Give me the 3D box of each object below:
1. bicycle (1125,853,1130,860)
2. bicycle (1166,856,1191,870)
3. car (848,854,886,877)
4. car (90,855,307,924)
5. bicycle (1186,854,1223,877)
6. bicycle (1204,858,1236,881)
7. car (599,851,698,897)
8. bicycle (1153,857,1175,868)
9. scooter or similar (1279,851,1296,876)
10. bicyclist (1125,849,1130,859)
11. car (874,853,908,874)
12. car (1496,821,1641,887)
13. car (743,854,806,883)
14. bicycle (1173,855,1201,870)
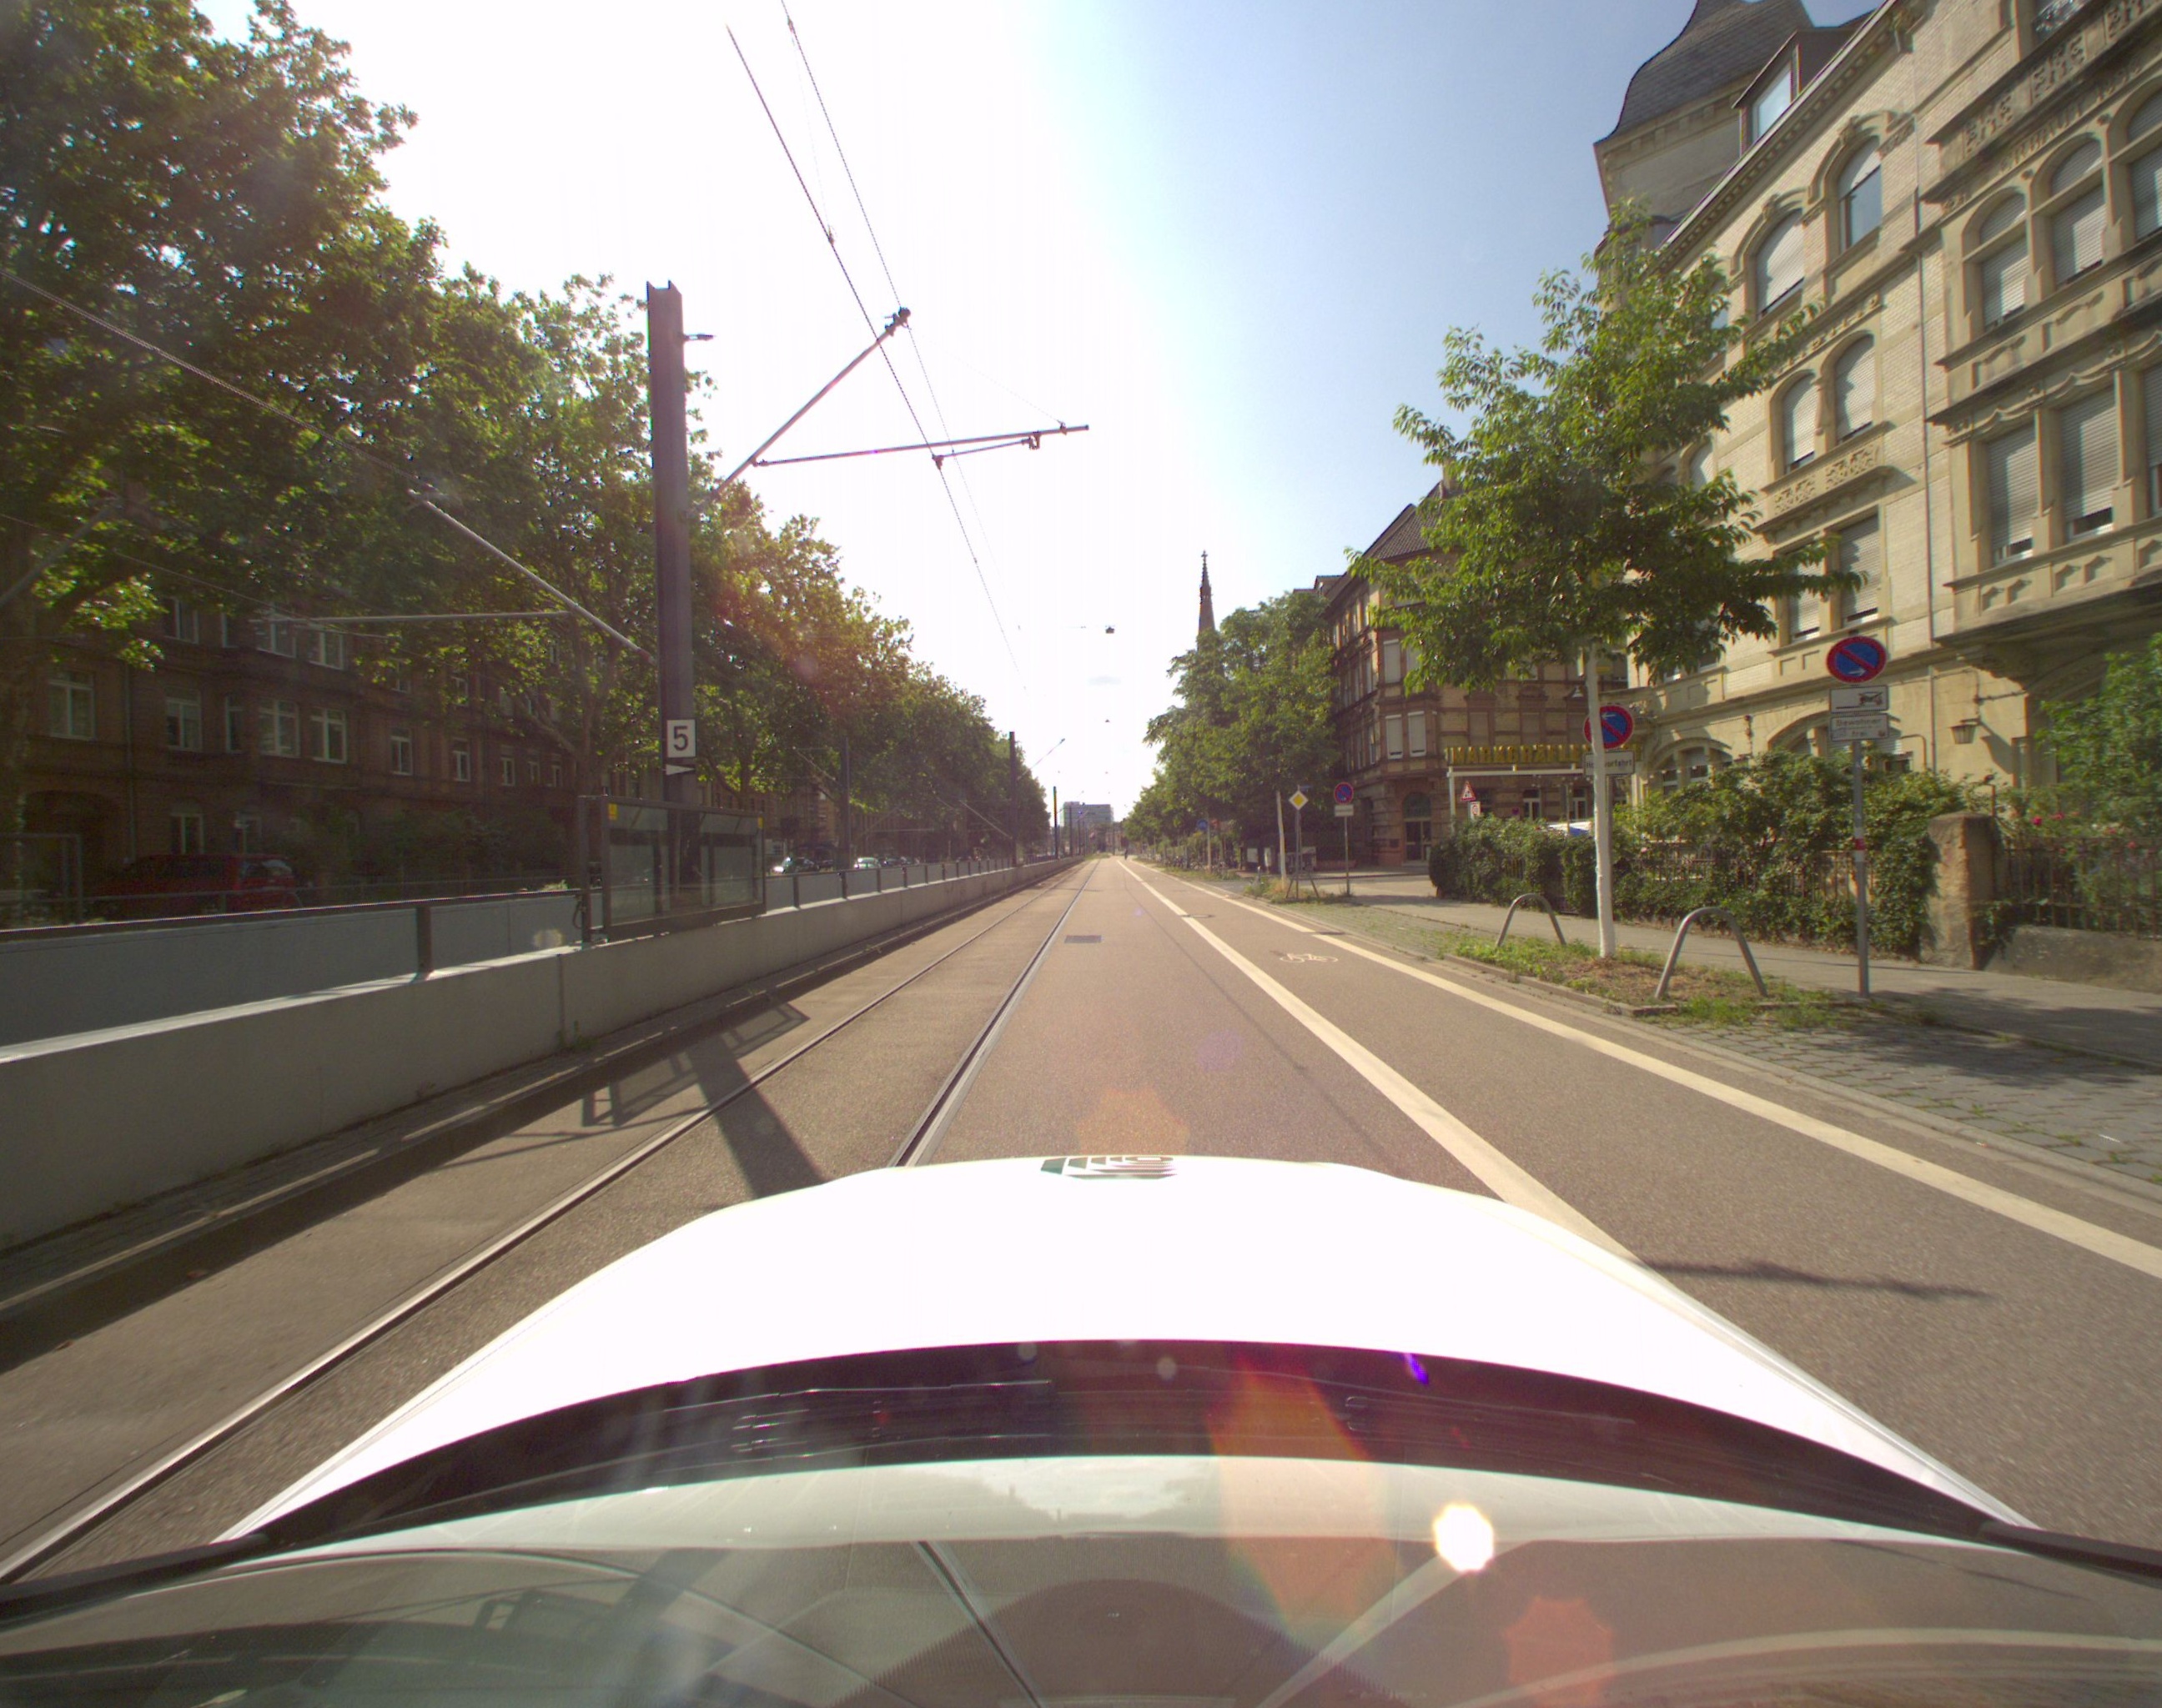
[{"bbox_3d":[7.769,0.431,136.417,0.796,1.237,2.779,-2,0,2],"label":"bicycle"},{"bbox_3d":[7.436,0.692,62.085,1.811,0.902,0.603,-4,0,-2],"label":"bicycle"},{"bbox_3d":[-17.694,0.905,67.426,1.832,1.727,4.002,-4,0,2],"label":"car"},{"bbox_3d":[-26.977,1.047,25.008,4.387,1.918,2.000,-2,0,0],"label":"car"},{"bbox_3d":[6.761,0.635,44.512,1.816,1.145,0.649,-4,0,-10],"label":"bicycle"},{"bbox_3d":[6.695,0.734,39.335,0.652,1.038,1.810,-4,0,-20],"label":"bicycle"},{"bbox_3d":[-18.227,0.797,34.496,1.708,1.691,3.738,-4,1,8],"label":"car"},{"bbox_3d":[7.489,0.781,73.355,1.811,0.902,0.603,-4,0,-2],"label":"bicycle"},{"bbox_3d":[10.266,0.460,40.571,0.459,1.158,1.574,-3,0,2],"label":"scooter or similar"},{"bbox_3d":[7.711,0.024,136.335,0.767,1.730,1.027,-2,0,2],"label":"bicyclist"},{"bbox_3d":[-16.903,0.817,72.589,1.832,1.727,4.002,-4,0,2],"label":"car"},{"bbox_3d":[17.211,0.052,29.050,1.993,2.105,4.471,-2,-1,-9],"label":"car"},{"bbox_3d":[-18.459,0.837,49.244,1.985,1.636,4.004,-2,0,4],"label":"car"},{"bbox_3d":[7.452,0.580,57.146,1.811,0.902,0.651,-4,0,-2],"label":"bicycle"}]
